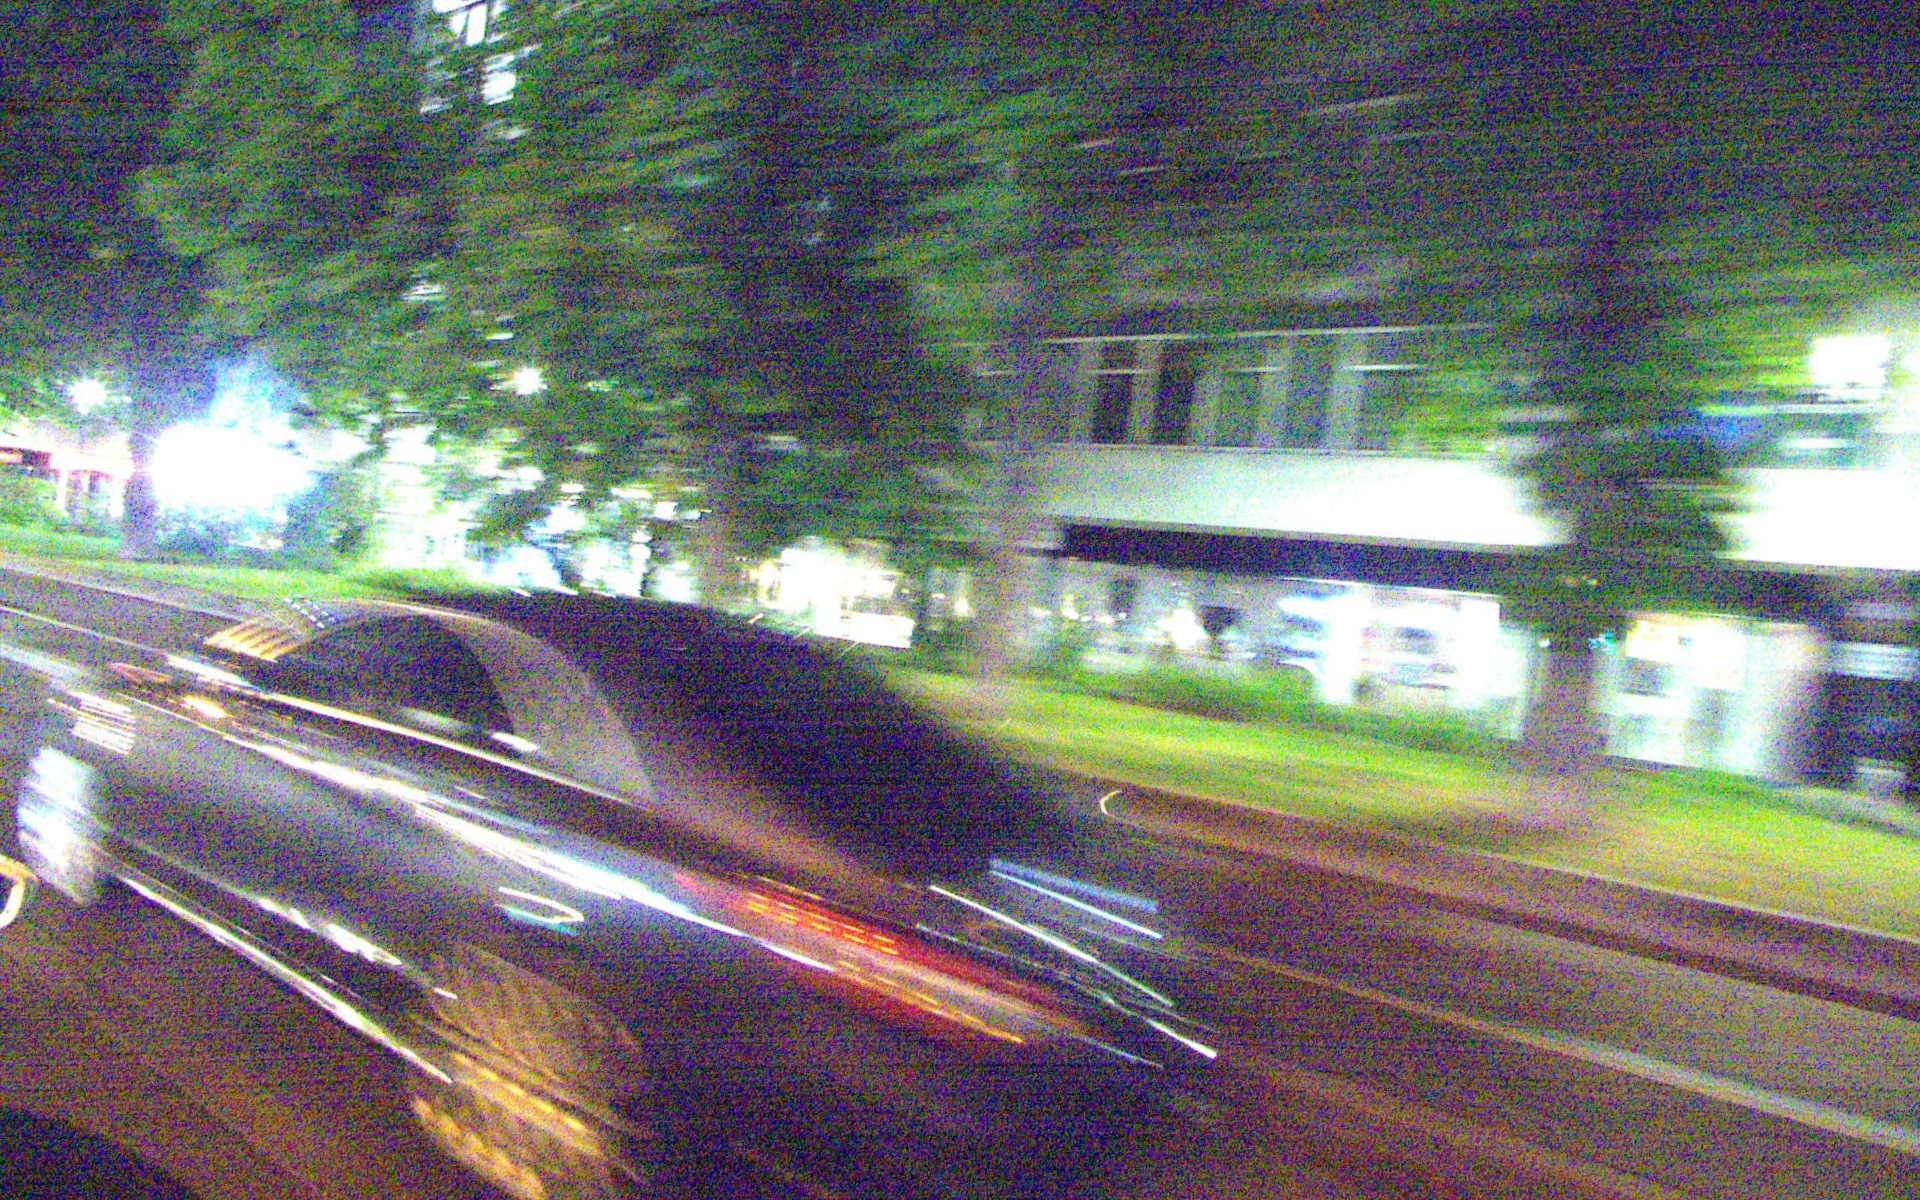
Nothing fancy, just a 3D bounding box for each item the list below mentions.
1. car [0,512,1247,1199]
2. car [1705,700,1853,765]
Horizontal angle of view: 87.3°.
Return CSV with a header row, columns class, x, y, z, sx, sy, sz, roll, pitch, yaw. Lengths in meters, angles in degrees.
class,x,y,z,sx,sy,sz,roll,pitch,yaw
car,-1.618,0.633,3.683,4.728,1.432,1.766,7,1,32
car,26.860,4.306,33.142,3.415,1.528,1.790,7,0,32
